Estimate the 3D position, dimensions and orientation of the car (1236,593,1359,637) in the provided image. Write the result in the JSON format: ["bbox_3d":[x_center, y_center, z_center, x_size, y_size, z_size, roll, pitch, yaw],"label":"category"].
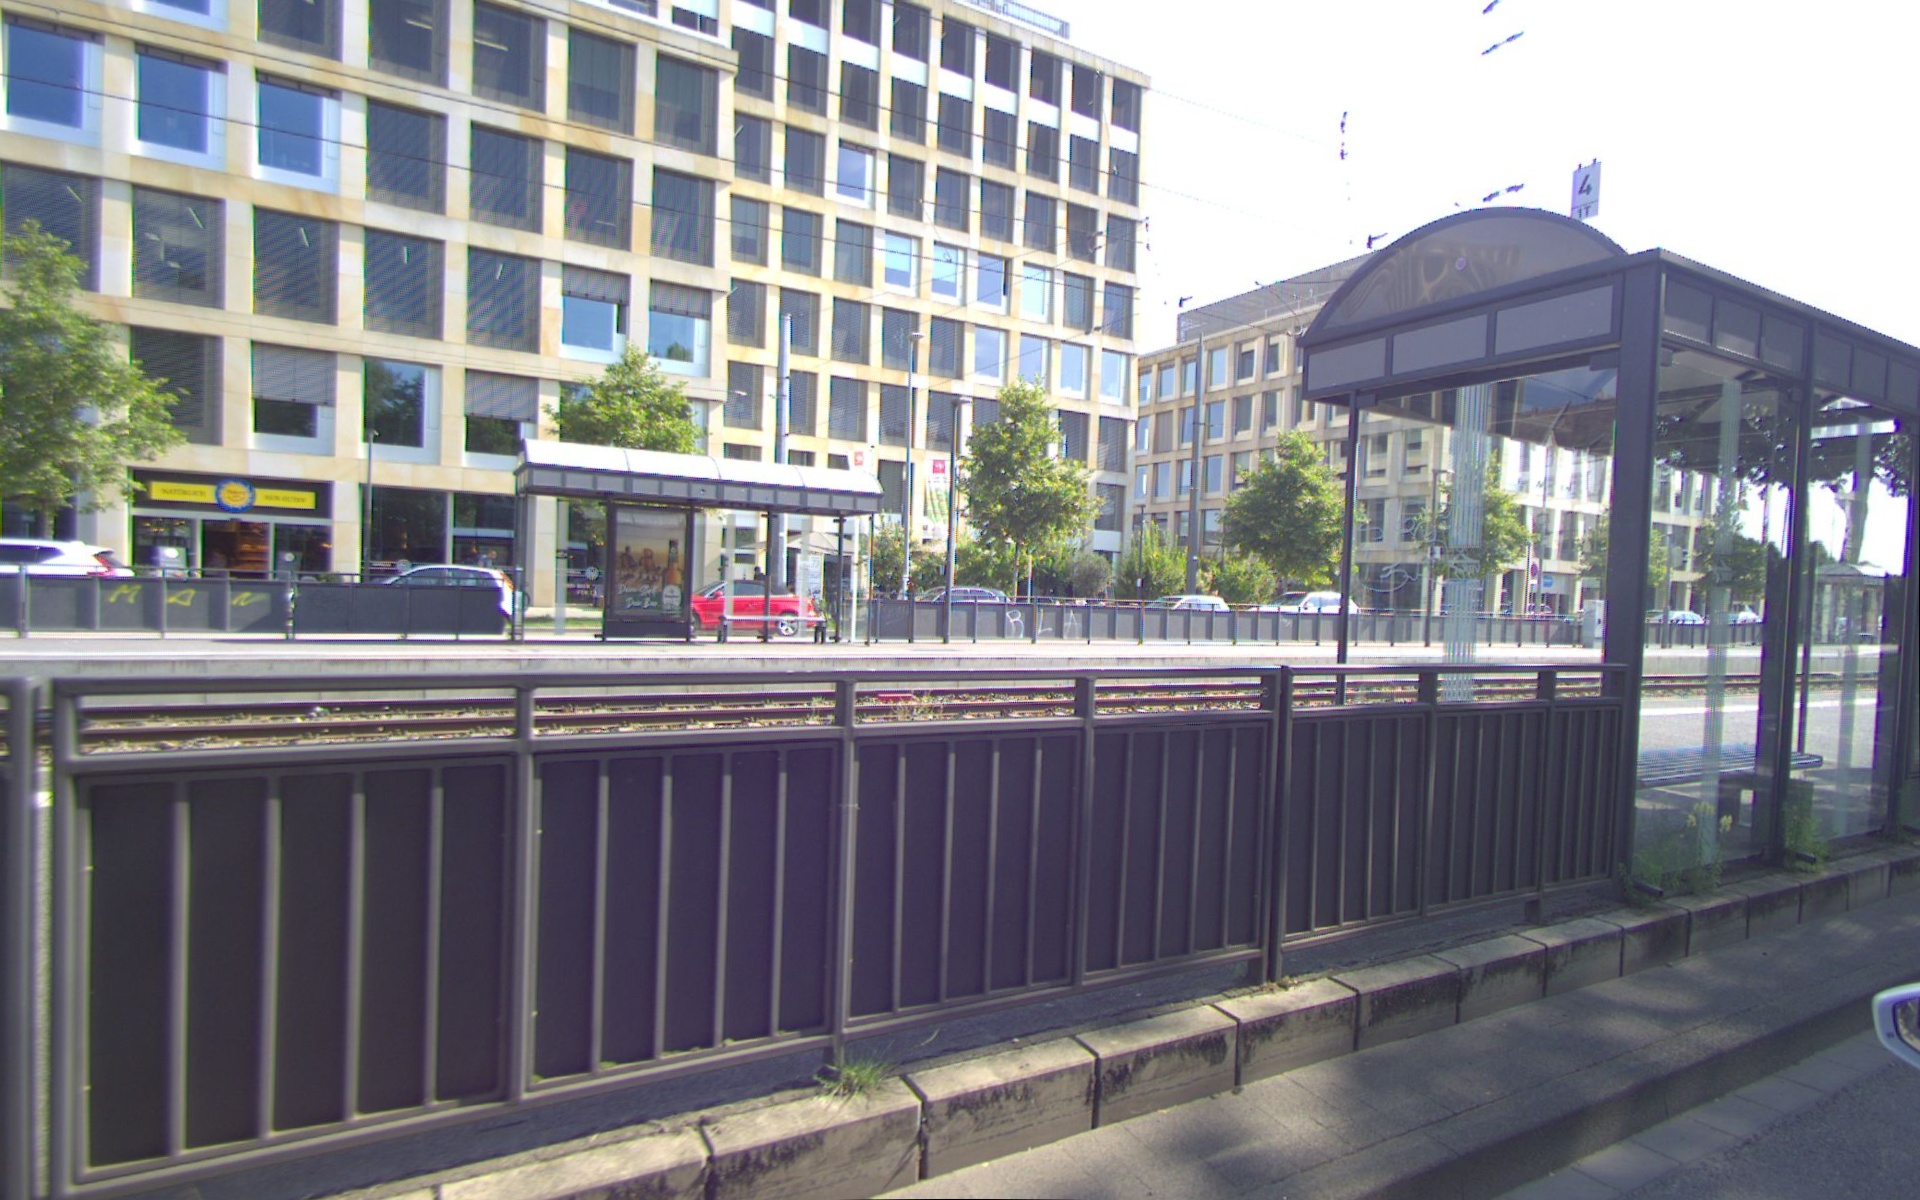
[{"bbox_3d":[11.898,0.545,35.334,4.320,1.426,1.675,2,0,-31],"label":"car"}]

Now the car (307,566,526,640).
[{"bbox_3d":[-11.549,0.078,21.516,3.954,1.426,1.781,2,0,-31],"label":"car"}]

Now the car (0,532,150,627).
[{"bbox_3d":[-17.611,-0.395,18.254,4.272,1.647,1.780,2,0,-32],"label":"car"}]

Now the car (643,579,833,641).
[{"bbox_3d":[-5.519,0.265,25.117,4.322,1.426,1.675,2,0,-31],"label":"car"}]

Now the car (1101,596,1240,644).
[{"bbox_3d":[6.718,0.644,31.978,4.322,1.426,1.675,2,0,-31],"label":"car"}]
